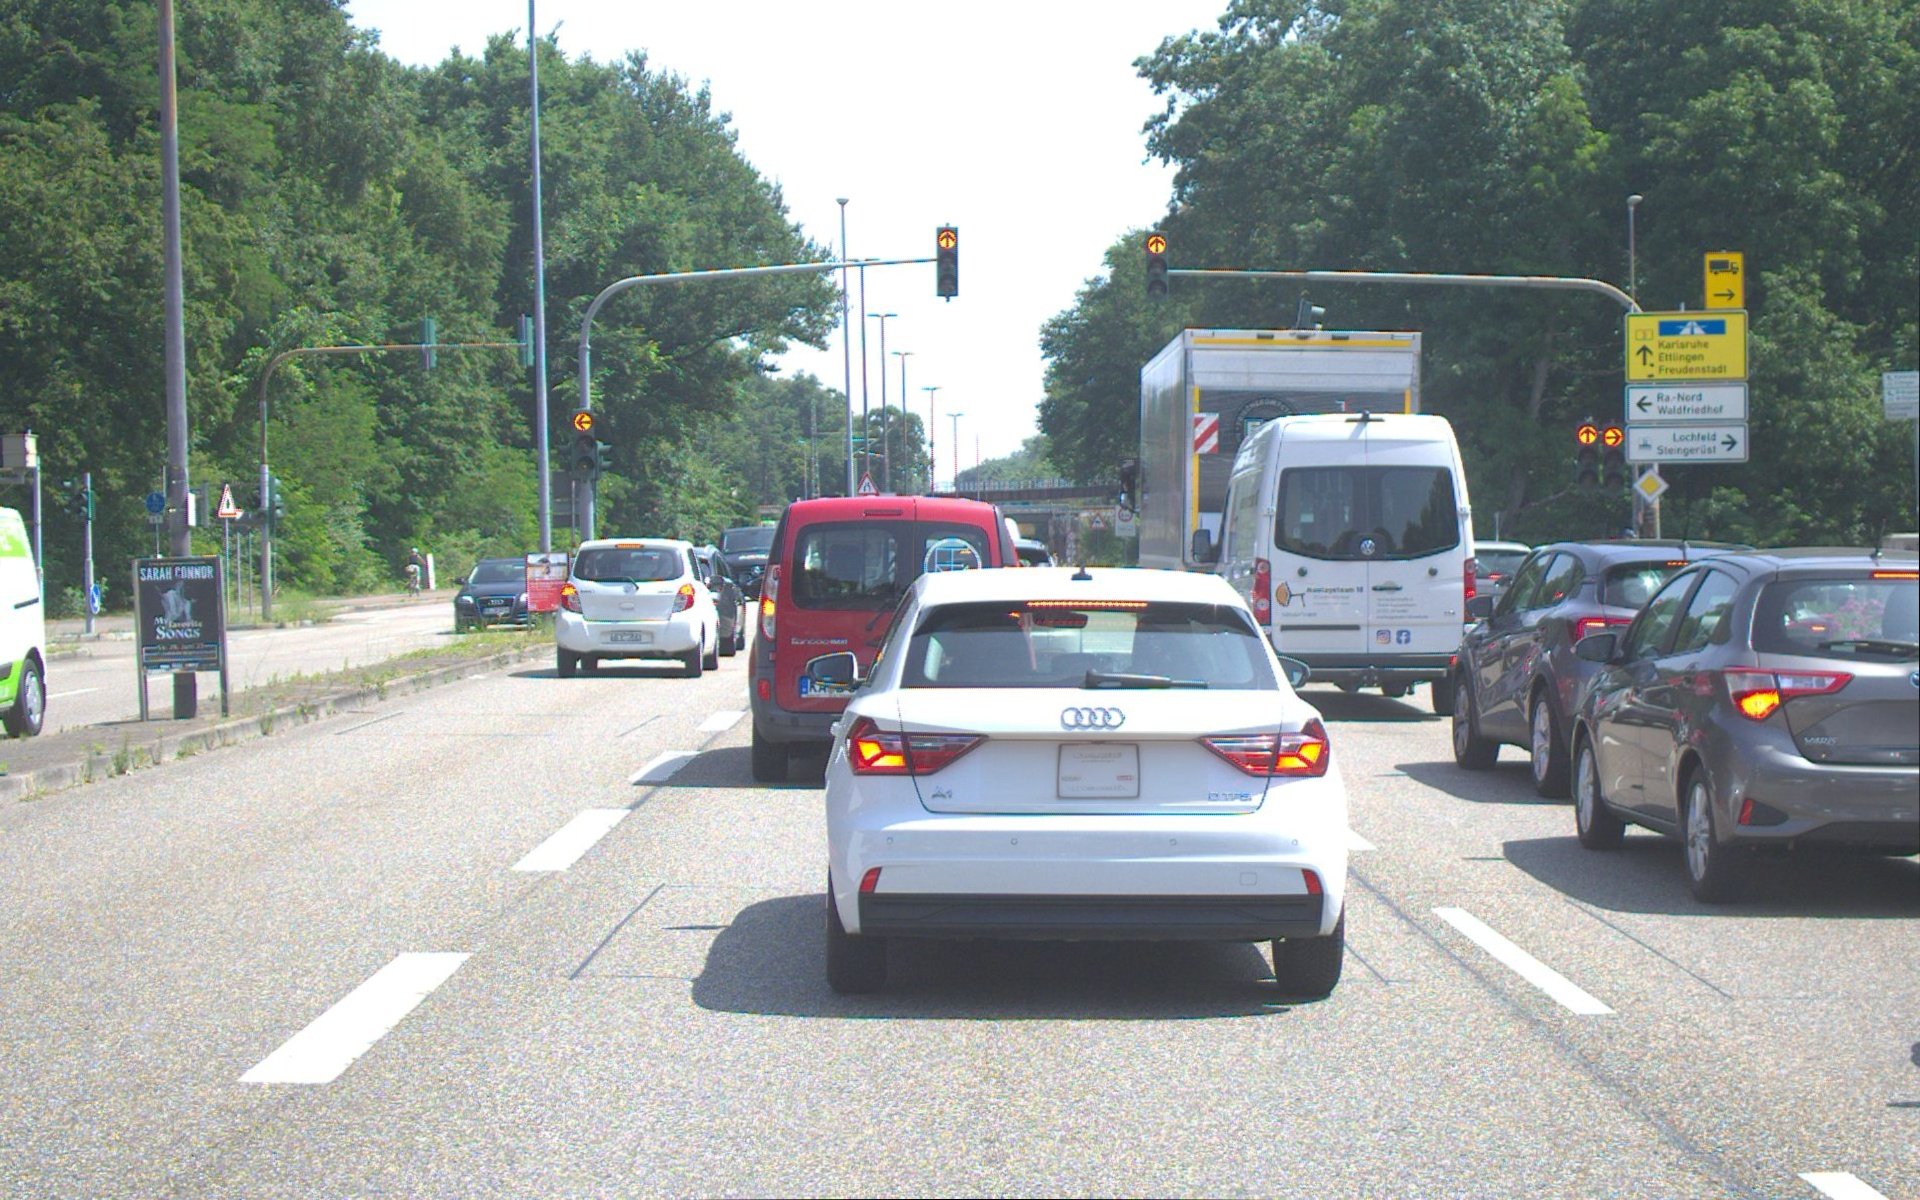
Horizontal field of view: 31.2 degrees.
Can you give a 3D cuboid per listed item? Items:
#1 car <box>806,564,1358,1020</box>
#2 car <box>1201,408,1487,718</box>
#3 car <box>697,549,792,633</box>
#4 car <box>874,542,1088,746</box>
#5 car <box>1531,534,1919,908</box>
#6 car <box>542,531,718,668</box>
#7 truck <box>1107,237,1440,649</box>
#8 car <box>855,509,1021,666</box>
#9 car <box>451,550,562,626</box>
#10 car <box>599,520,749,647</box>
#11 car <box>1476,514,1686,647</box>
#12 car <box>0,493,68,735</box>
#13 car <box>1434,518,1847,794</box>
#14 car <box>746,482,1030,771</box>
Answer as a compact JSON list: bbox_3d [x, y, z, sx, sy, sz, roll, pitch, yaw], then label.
[{"bbox_3d":[0.330,0.574,12.710,1.712,1.381,4.092,0,1,-1],"label":"car"},{"bbox_3d":[3.441,-0.363,31.686,2.031,2.635,4.845,0,1,-1],"label":"car"},{"bbox_3d":[-5.437,-0.260,86.269,1.993,2.007,4.001,-1,1,-9],"label":"car"},{"bbox_3d":[0.116,0.315,29.612,1.712,1.626,4.092,0,1,-1],"label":"car"},{"bbox_3d":[3.915,0.471,15.879,1.712,1.473,4.092,3,1,-1],"label":"car"},{"bbox_3d":[-3.724,-0.047,39.357,1.712,1.487,4.092,0,1,-1],"label":"car"},{"bbox_3d":[3.638,-1.811,42.963,3.088,4.418,11.580,1,1,0],"label":"truck"},{"bbox_3d":[-0.276,-0.164,37.664,1.712,1.626,4.092,0,1,-1],"label":"car"},{"bbox_3d":[-8.864,-0.260,67.477,1.678,1.335,4.000,-4,1,-1],"label":"car"},{"bbox_3d":[-3.806,-0.255,46.324,1.774,1.635,4.037,0,1,-1],"label":"car"},{"bbox_3d":[7.467,-0.264,41.708,1.712,1.541,4.092,0,1,-1],"label":"car"},{"bbox_3d":[-8.692,0.165,27.176,1.993,1.939,4.909,-3,1,-1],"label":"car"},{"bbox_3d":[4.197,0.285,21.828,1.712,1.587,4.092,0,1,-1],"label":"car"},{"bbox_3d":[-0.483,0.122,22.748,1.712,1.742,4.092,0,1,-1],"label":"car"}]
